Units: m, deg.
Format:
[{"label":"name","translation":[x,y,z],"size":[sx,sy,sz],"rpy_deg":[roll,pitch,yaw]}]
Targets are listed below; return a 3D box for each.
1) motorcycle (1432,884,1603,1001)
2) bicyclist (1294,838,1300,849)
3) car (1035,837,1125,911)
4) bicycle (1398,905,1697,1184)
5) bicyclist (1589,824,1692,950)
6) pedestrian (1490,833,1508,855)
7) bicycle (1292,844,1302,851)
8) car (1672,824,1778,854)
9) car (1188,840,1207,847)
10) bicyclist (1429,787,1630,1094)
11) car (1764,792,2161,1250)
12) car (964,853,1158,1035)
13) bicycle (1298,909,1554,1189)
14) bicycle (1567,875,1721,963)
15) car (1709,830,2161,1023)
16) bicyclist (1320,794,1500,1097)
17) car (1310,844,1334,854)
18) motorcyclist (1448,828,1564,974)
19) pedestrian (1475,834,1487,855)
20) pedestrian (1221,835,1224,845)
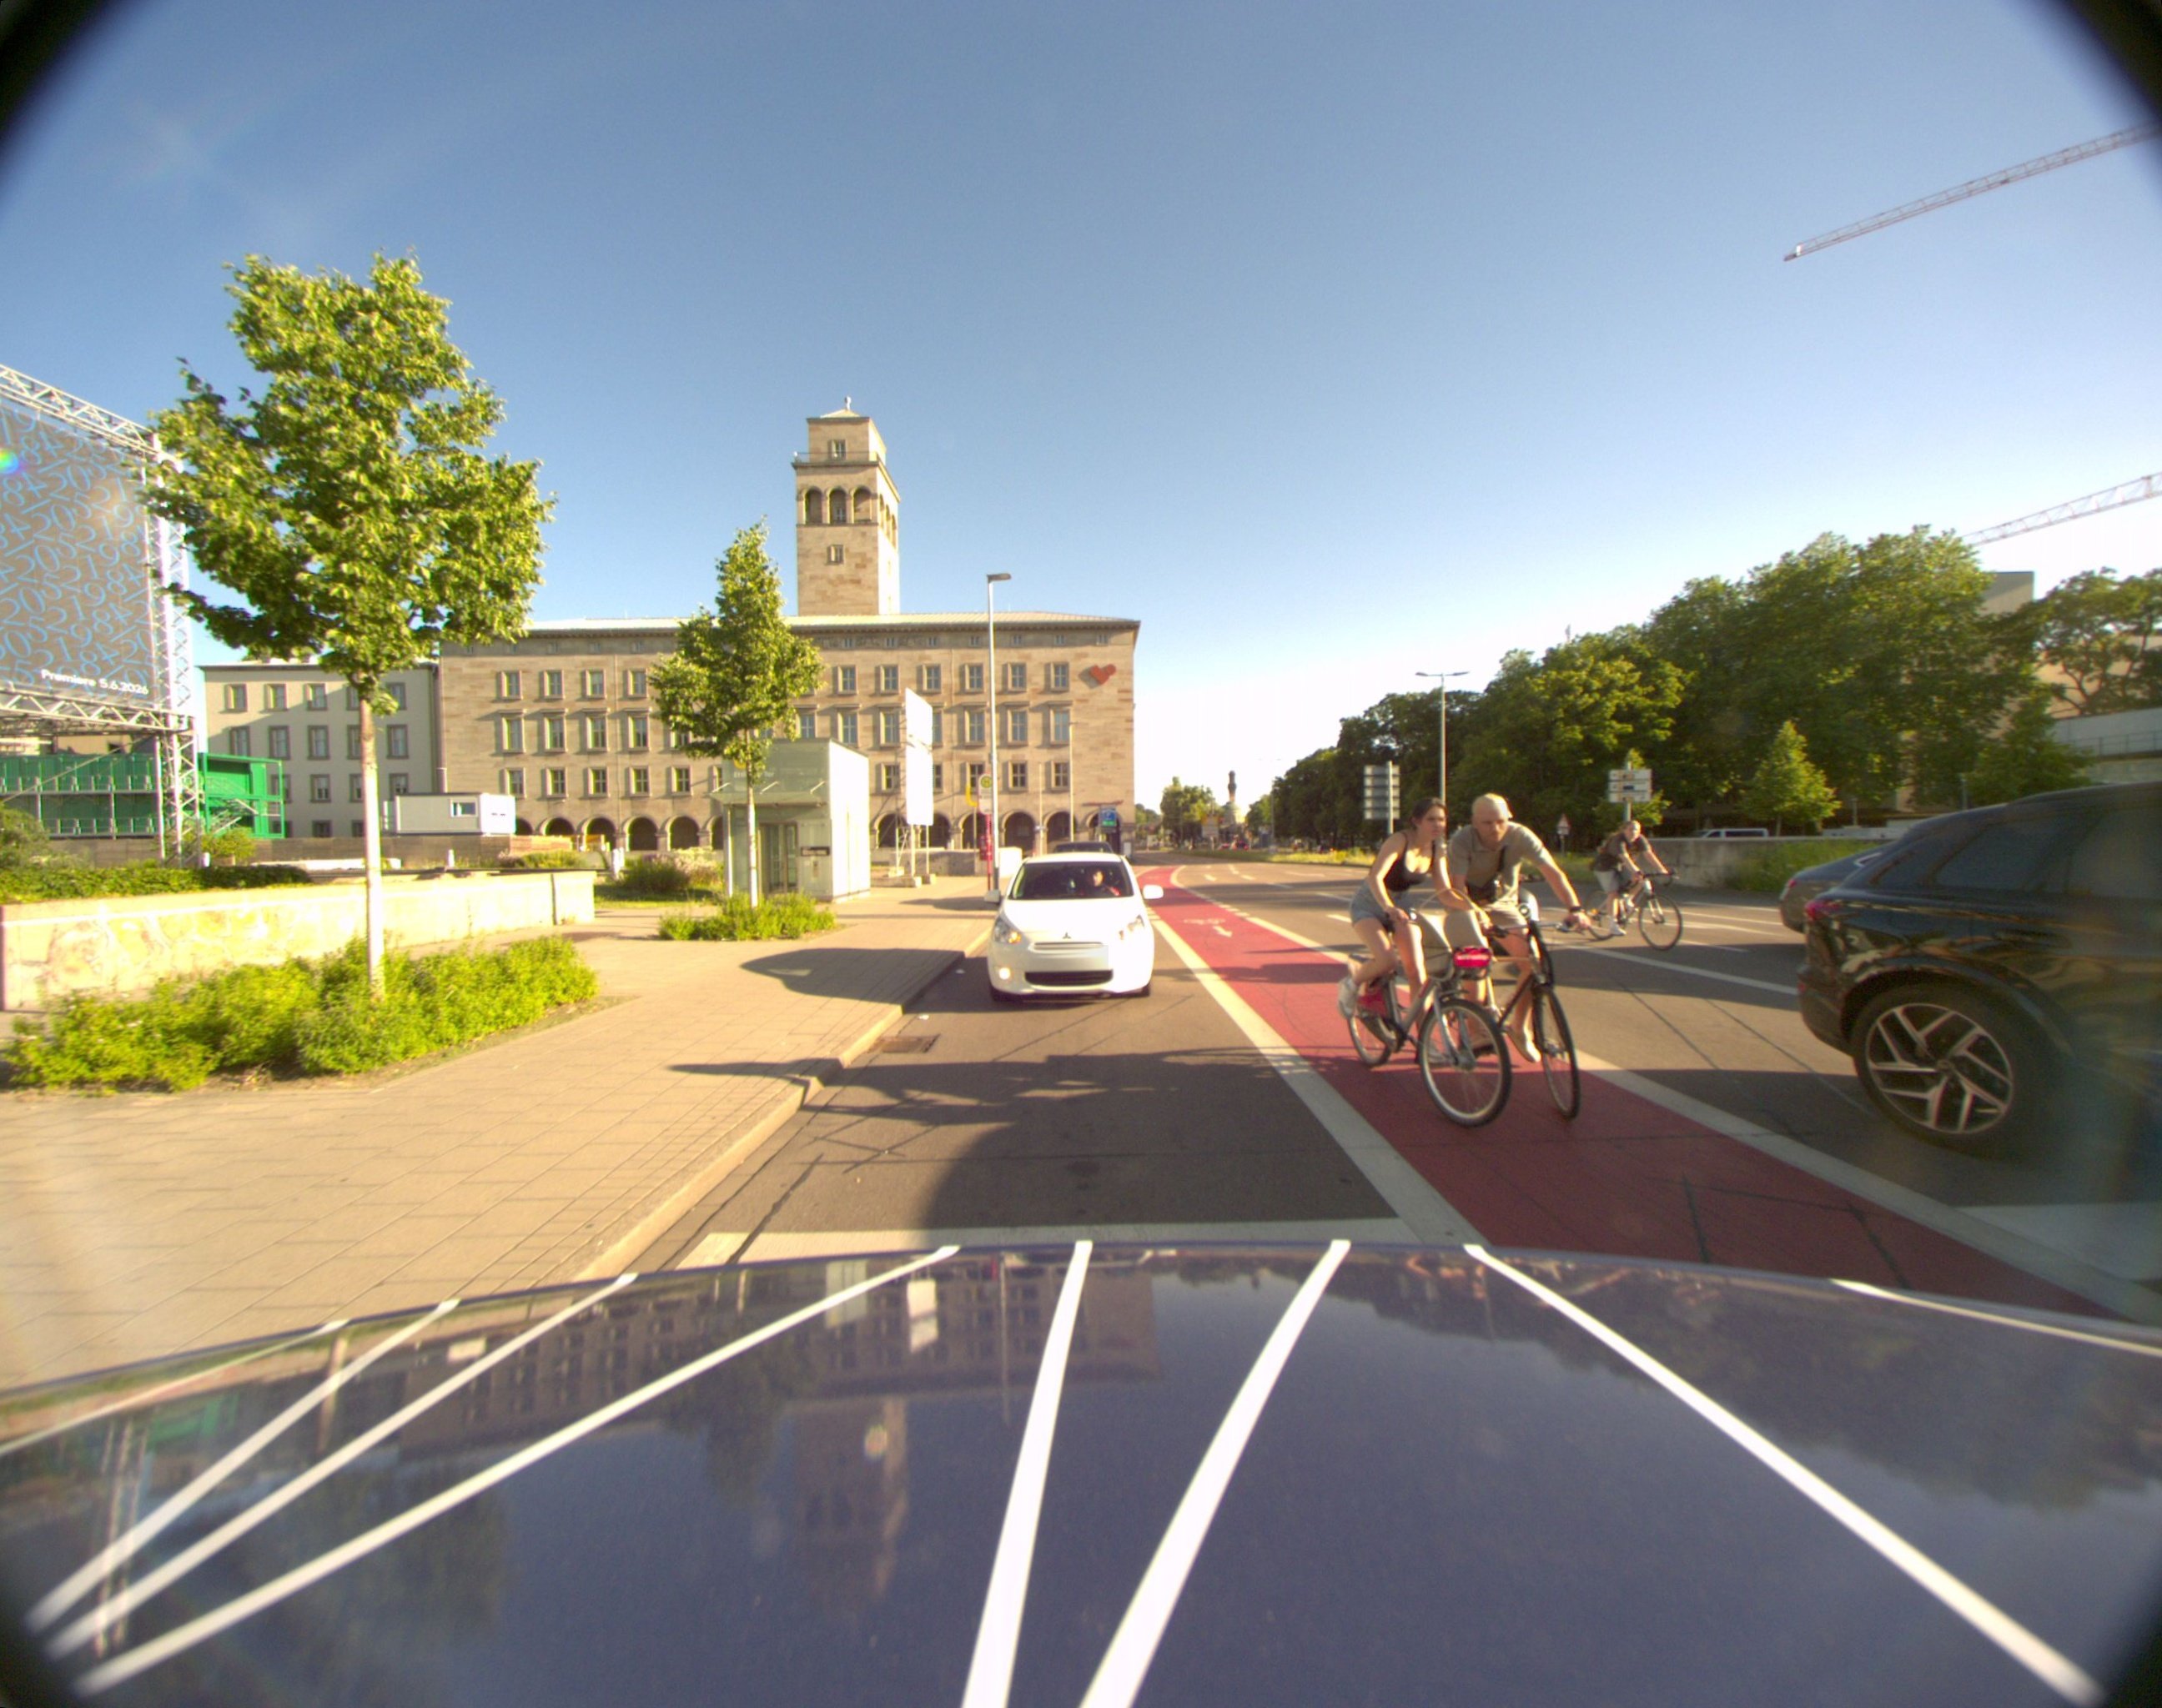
[{"label":"motorcycle","translation":[4.570,0.878,8.149],"size":[0.756,0.963,1.959],"rpy_deg":[-2,1,2]},{"label":"bicyclist","translation":[26.314,-1.300,92.585],"size":[0.617,1.359,0.768],"rpy_deg":[-1,2,2]},{"label":"car","translation":[0.025,0.398,19.612],"size":[1.998,1.653,4.791],"rpy_deg":[-1,1,1]},{"label":"bicycle","translation":[2.494,0.930,4.355],"size":[0.625,1.110,1.816],"rpy_deg":[-1,1,1]},{"label":"bicyclist","translation":[7.047,0.390,9.605],"size":[0.624,1.495,0.938],"rpy_deg":[-2,2,3]},{"label":"pedestrian","translation":[35.240,-0.844,64.068],"size":[0.997,1.773,0.964],"rpy_deg":[-2,2,2]},{"label":"bicycle","translation":[26.323,-0.815,92.605],"size":[0.617,0.800,1.980],"rpy_deg":[-1,1,2]},{"label":"car","translation":[43.637,-1.025,51.583],"size":[5.325,1.880,2.000],"rpy_deg":[-1,1,4]},{"label":"car","translation":[25.360,-2.254,165.326],"size":[3.767,1.443,1.619],"rpy_deg":[-2,2,3]},{"label":"bicyclist","translation":[2.492,0.439,4.332],"size":[0.625,1.566,0.894],"rpy_deg":[-1,2,1]},{"label":"car","translation":[4.985,0.599,1.920],"size":[2.199,1.653,4.791],"rpy_deg":[-1,1,0]},{"label":"car","translation":[-0.100,0.802,8.728],"size":[1.660,1.463,3.968],"rpy_deg":[-3,1,2]},{"label":"bicycle","translation":[1.809,0.945,4.314],"size":[0.652,1.088,1.800],"rpy_deg":[-1,1,1]},{"label":"bicycle","translation":[7.060,0.773,9.658],"size":[0.624,0.903,1.910],"rpy_deg":[-2,1,3]},{"label":"car","translation":[8.672,0.484,7.138],"size":[1.775,1.344,4.524],"rpy_deg":[-2,1,-1]},{"label":"bicyclist","translation":[1.802,0.462,4.274],"size":[0.652,1.534,0.847],"rpy_deg":[-1,2,1]},{"label":"car","translation":[27.768,-0.590,87.531],"size":[1.618,1.126,3.770],"rpy_deg":[-2,1,1]},{"label":"motorcyclist","translation":[4.557,0.476,8.206],"size":[0.756,1.475,0.881],"rpy_deg":[-2,2,2]},{"label":"pedestrian","translation":[33.842,-0.797,64.259],"size":[0.664,1.717,0.697],"rpy_deg":[-1,2,2]},{"label":"pedestrian","translation":[29.645,-2.963,159.007],"size":[0.525,2.002,0.594],"rpy_deg":[-1,2,-1]}]
